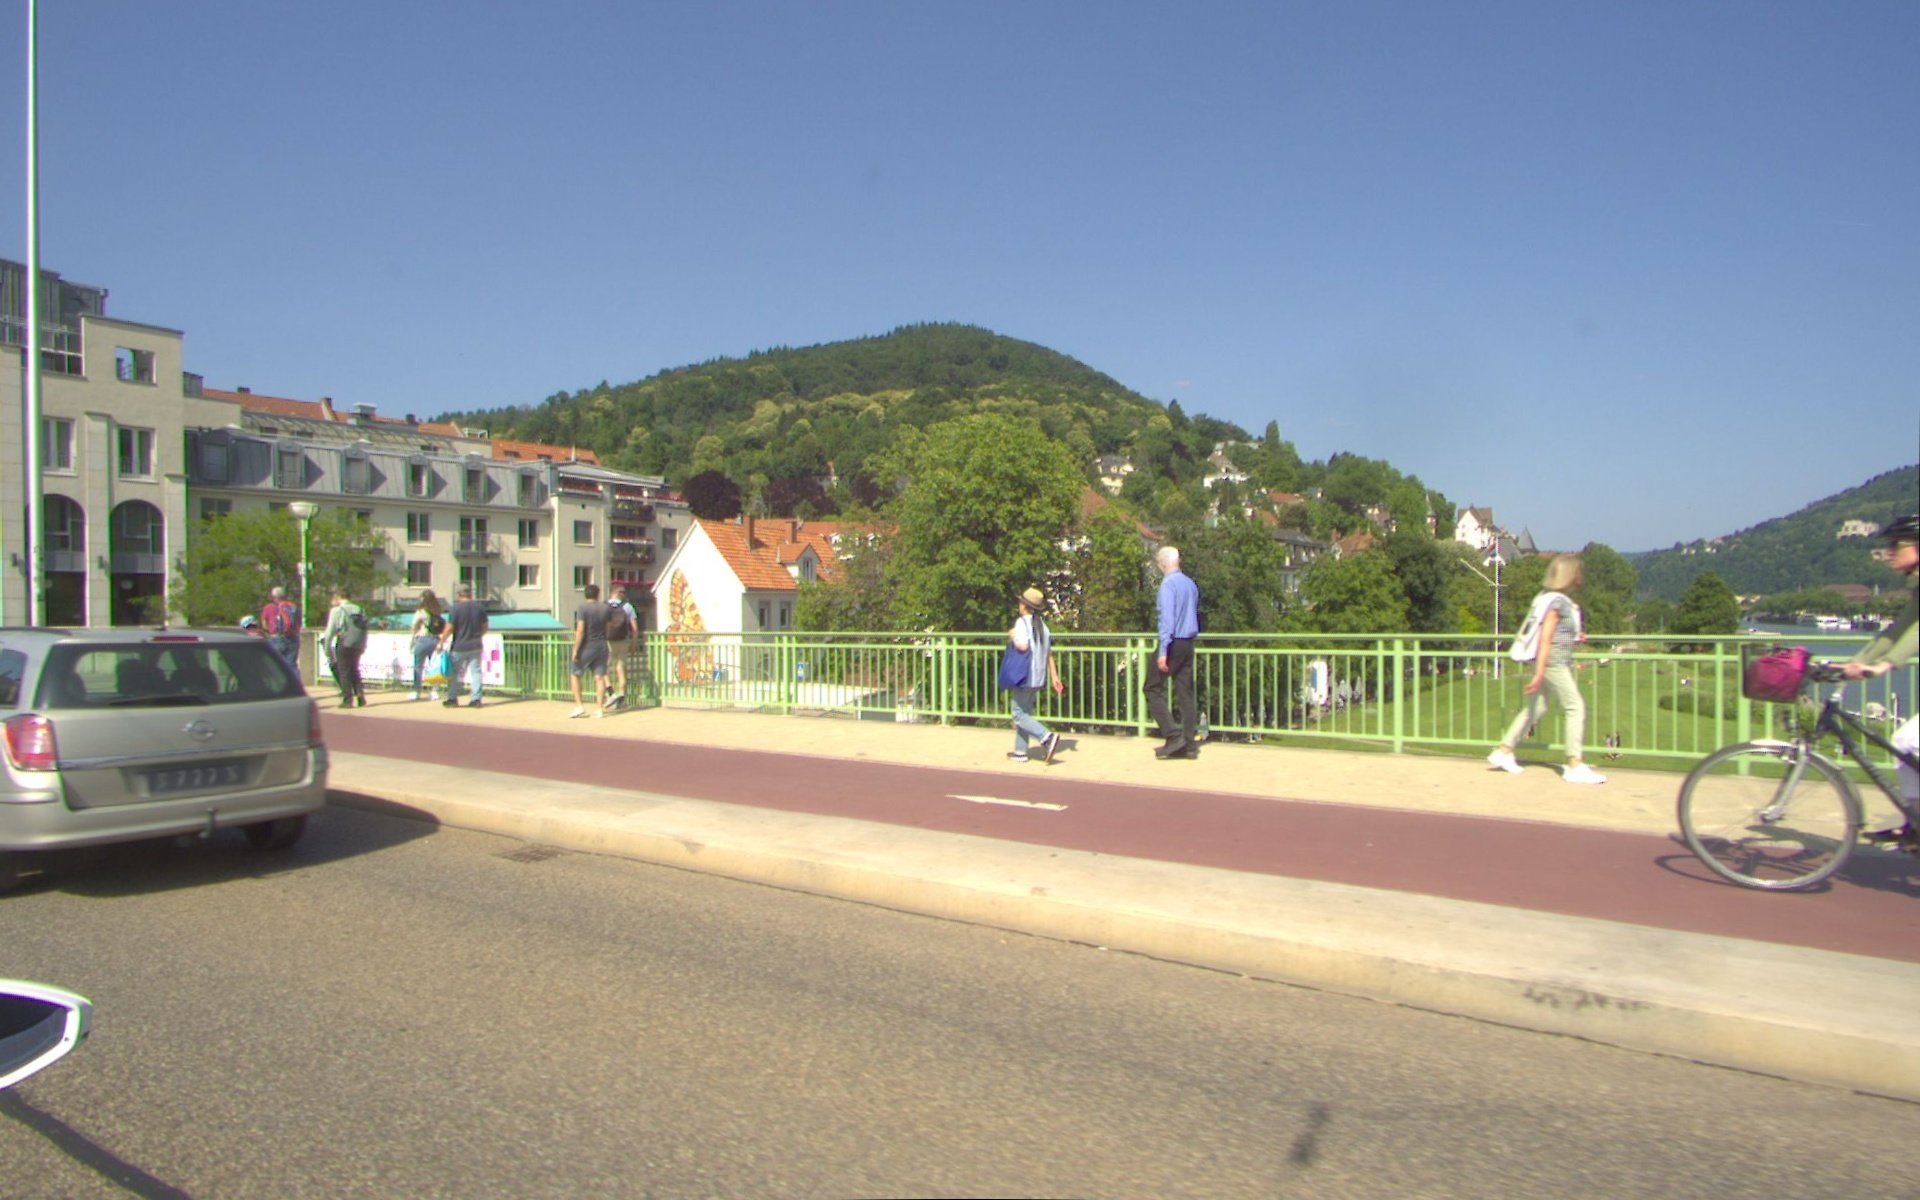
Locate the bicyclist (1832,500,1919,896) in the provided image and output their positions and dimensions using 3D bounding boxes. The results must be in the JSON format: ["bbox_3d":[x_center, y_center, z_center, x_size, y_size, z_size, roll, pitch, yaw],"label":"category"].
[{"bbox_3d":[4.345,0.411,4.384,0.691,1.672,0.585,0,1,31],"label":"bicyclist"}]

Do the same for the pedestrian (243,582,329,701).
[{"bbox_3d":[-10.694,0.633,15.891,1.001,1.826,0.737,0,2,32],"label":"pedestrian"}]

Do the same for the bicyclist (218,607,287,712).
[{"bbox_3d":[-9.806,0.810,13.885,0.659,1.402,0.532,0,2,33],"label":"bicyclist"}]

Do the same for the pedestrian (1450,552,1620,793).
[{"bbox_3d":[4.395,0.506,7.668,1.067,1.685,0.945,0,2,32],"label":"pedestrian"}]

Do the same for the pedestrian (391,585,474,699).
[{"bbox_3d":[-8.485,0.652,16.099,1.001,1.770,0.737,0,2,32],"label":"pedestrian"}]

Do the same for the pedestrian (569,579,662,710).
[{"bbox_3d":[-4.784,0.596,13.895,1.001,1.741,0.737,0,1,32],"label":"pedestrian"}]

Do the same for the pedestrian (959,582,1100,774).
[{"bbox_3d":[0.614,0.634,8.711,0.920,1.550,0.827,0,2,32],"label":"pedestrian"}]

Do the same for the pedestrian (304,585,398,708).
[{"bbox_3d":[-8.997,0.661,14.792,1.058,1.741,0.752,0,2,32],"label":"pedestrian"}]

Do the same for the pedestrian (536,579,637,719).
[{"bbox_3d":[-4.844,0.606,13.002,1.001,1.741,0.737,0,2,32],"label":"pedestrian"}]

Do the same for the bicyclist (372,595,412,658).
[{"bbox_3d":[-15.845,0.718,27.925,0.911,1.718,1.137,-1,1,-30],"label":"bicyclist"}]

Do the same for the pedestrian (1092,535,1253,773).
[{"bbox_3d":[1.864,0.440,8.756,1.121,1.923,0.924,0,1,32],"label":"pedestrian"}]

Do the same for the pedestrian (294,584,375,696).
[{"bbox_3d":[-10.359,0.643,16.593,1.001,1.801,0.737,0,2,32],"label":"pedestrian"}]

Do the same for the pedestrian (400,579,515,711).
[{"bbox_3d":[-7.254,0.615,14.467,1.190,1.801,0.975,0,2,32],"label":"pedestrian"}]

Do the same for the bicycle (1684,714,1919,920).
[{"bbox_3d":[4.350,0.960,4.399,1.839,0.776,0.592,-1,1,30],"label":"bicycle"}]

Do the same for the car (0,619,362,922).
[{"bbox_3d":[-6.052,0.886,6.788,4.264,1.484,1.703,-1,-2,33],"label":"car"}]
